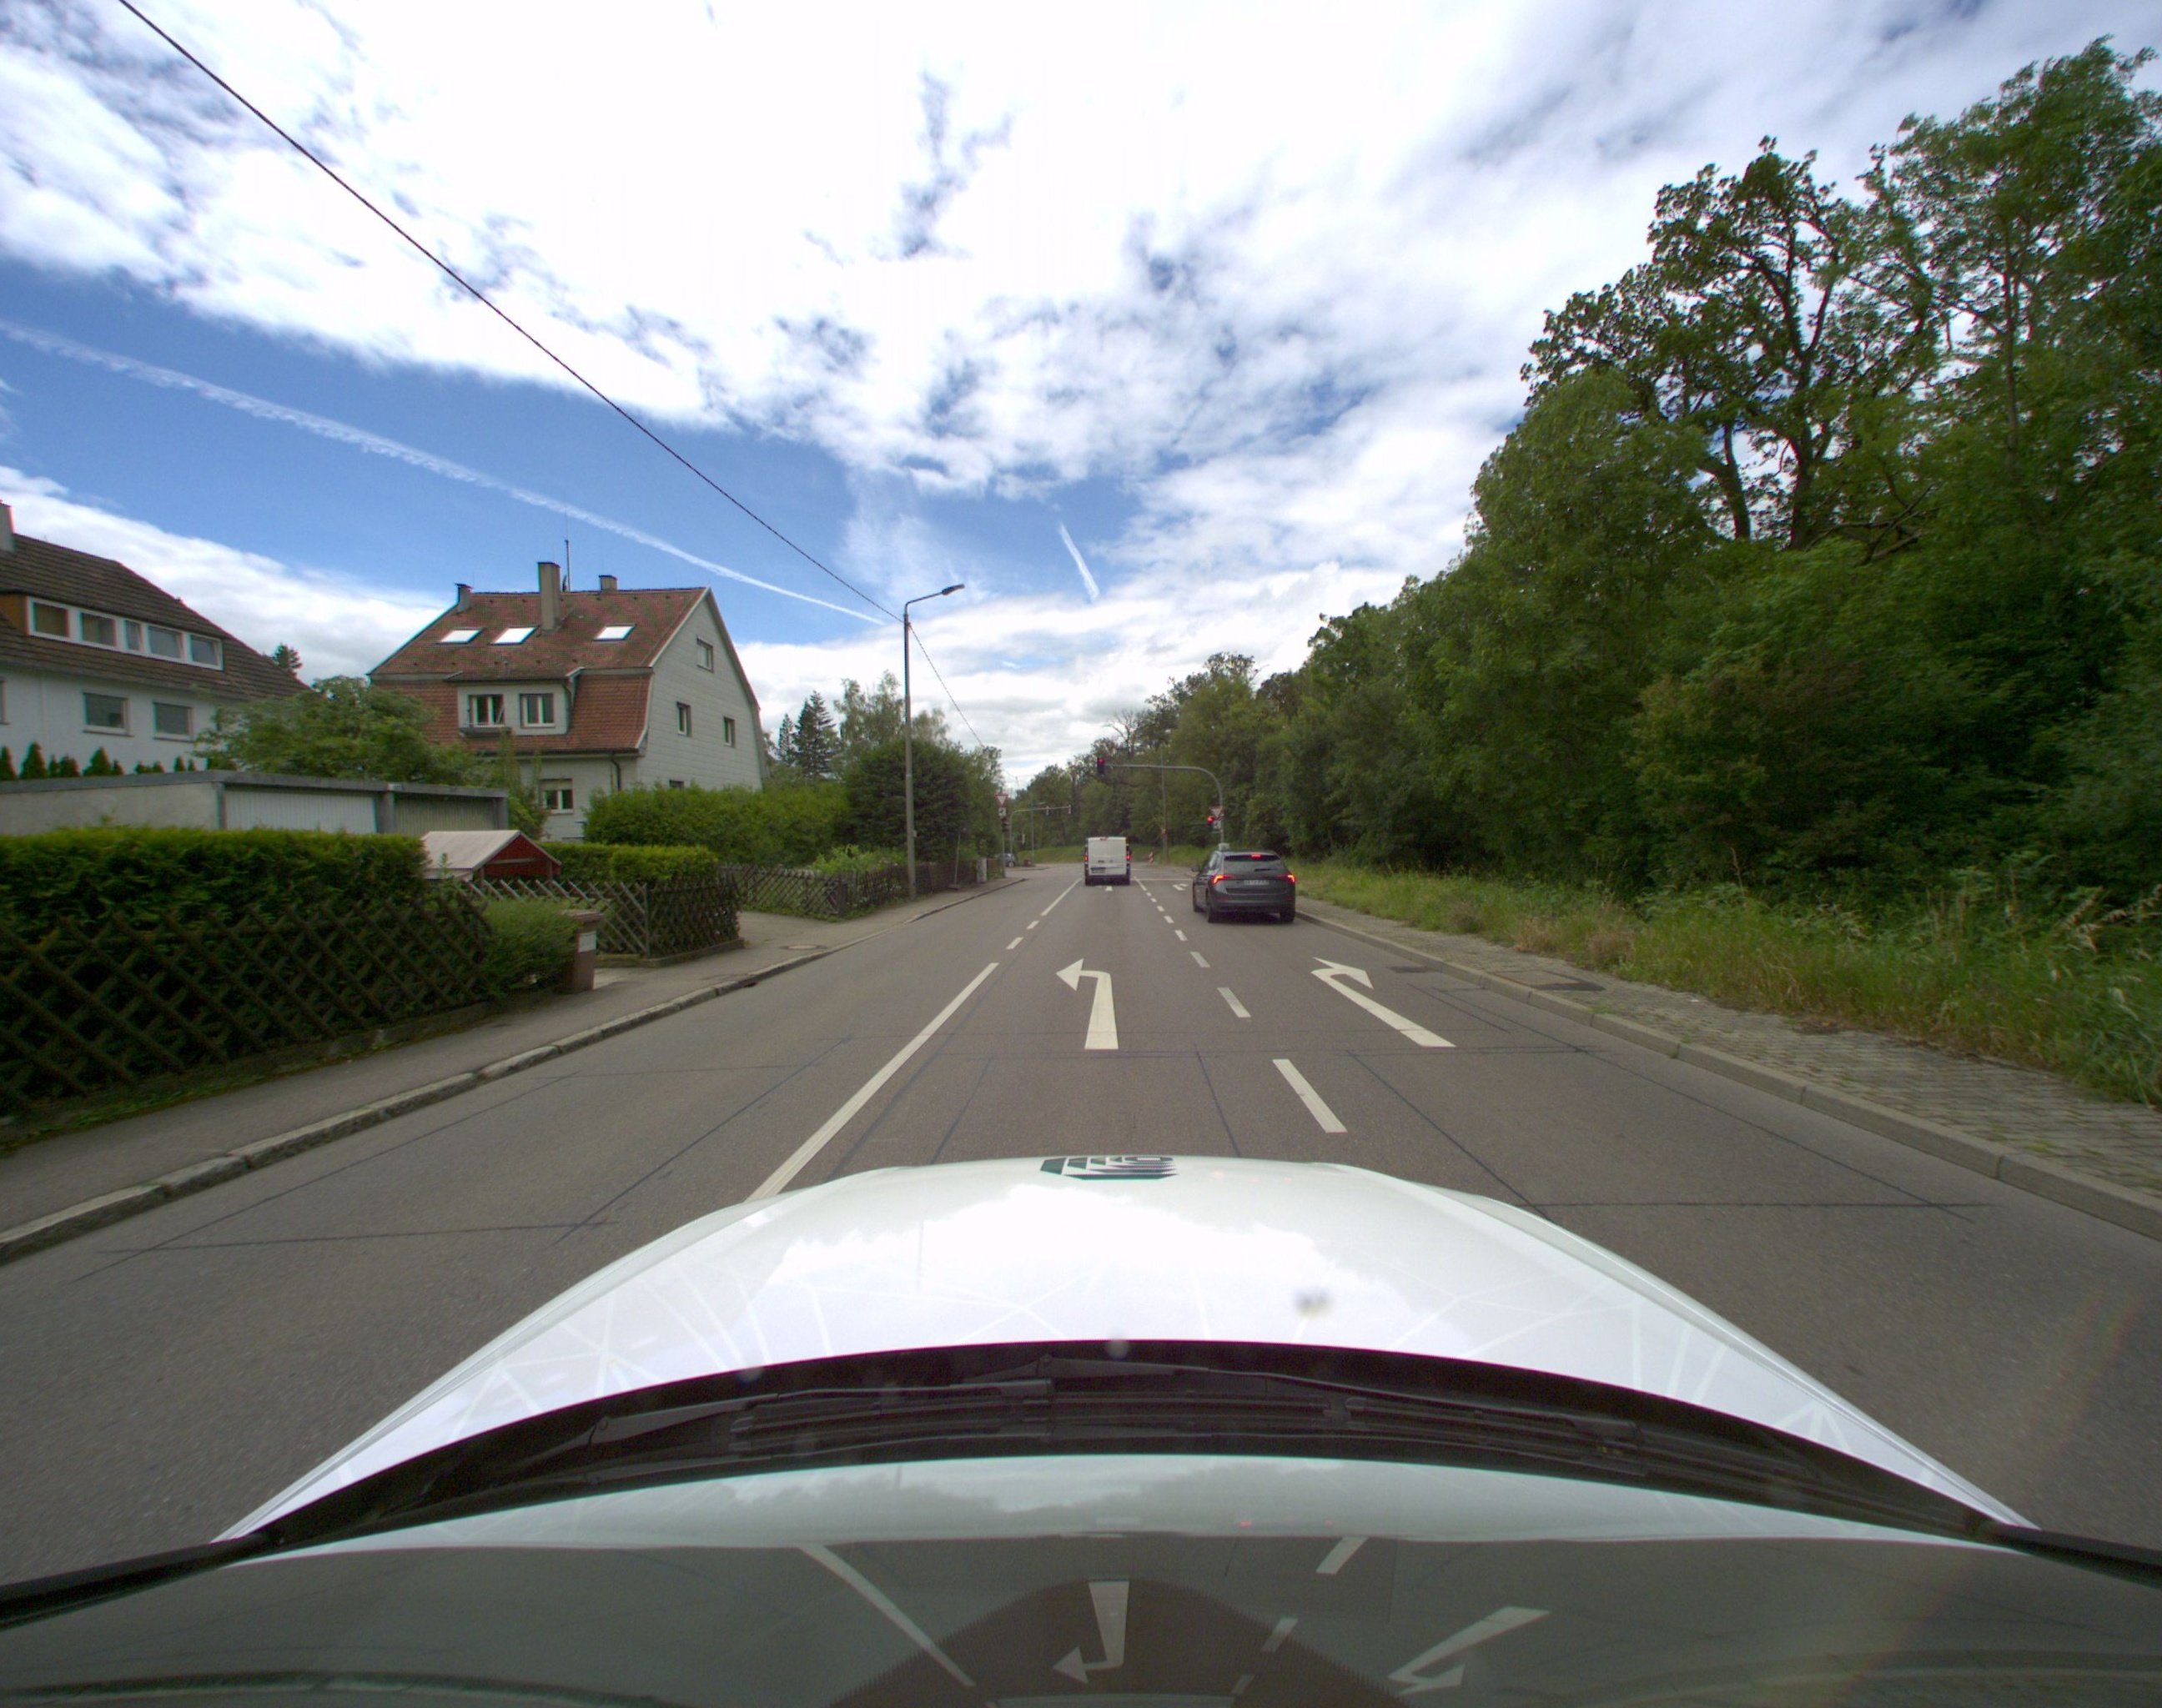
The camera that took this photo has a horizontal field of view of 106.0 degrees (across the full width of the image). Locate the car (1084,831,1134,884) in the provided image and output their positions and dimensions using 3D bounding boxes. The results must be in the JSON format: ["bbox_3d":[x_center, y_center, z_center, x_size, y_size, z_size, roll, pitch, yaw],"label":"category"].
[{"bbox_3d":[1.111,0.127,34.664,1.910,2.053,4.613,-2,0,0],"label":"car"}]

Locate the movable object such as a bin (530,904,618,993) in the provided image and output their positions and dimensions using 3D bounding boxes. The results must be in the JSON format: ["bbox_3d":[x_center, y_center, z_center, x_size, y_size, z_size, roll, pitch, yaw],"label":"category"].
[{"bbox_3d":[-5.740,1.055,9.232,0.628,0.913,0.562,1,1,14],"label":"movable object such as a bin"}]

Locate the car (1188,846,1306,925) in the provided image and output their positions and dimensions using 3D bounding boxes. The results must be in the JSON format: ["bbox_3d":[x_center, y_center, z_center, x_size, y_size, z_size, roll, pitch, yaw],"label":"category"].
[{"bbox_3d":[3.415,0.579,17.480,1.786,1.450,4.002,-2,0,2],"label":"car"}]

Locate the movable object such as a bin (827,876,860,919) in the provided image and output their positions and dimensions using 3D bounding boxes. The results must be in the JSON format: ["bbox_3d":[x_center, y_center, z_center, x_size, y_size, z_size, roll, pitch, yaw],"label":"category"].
[{"bbox_3d":[-5.420,0.999,18.637,0.548,0.938,0.538,-2,0,3],"label":"movable object such as a bin"}]

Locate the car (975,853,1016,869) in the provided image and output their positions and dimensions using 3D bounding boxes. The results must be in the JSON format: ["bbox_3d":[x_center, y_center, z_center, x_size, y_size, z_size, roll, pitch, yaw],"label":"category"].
[{"bbox_3d":[-8.952,0.734,85.251,4.093,1.553,1.845,-2,1,-15],"label":"car"}]
